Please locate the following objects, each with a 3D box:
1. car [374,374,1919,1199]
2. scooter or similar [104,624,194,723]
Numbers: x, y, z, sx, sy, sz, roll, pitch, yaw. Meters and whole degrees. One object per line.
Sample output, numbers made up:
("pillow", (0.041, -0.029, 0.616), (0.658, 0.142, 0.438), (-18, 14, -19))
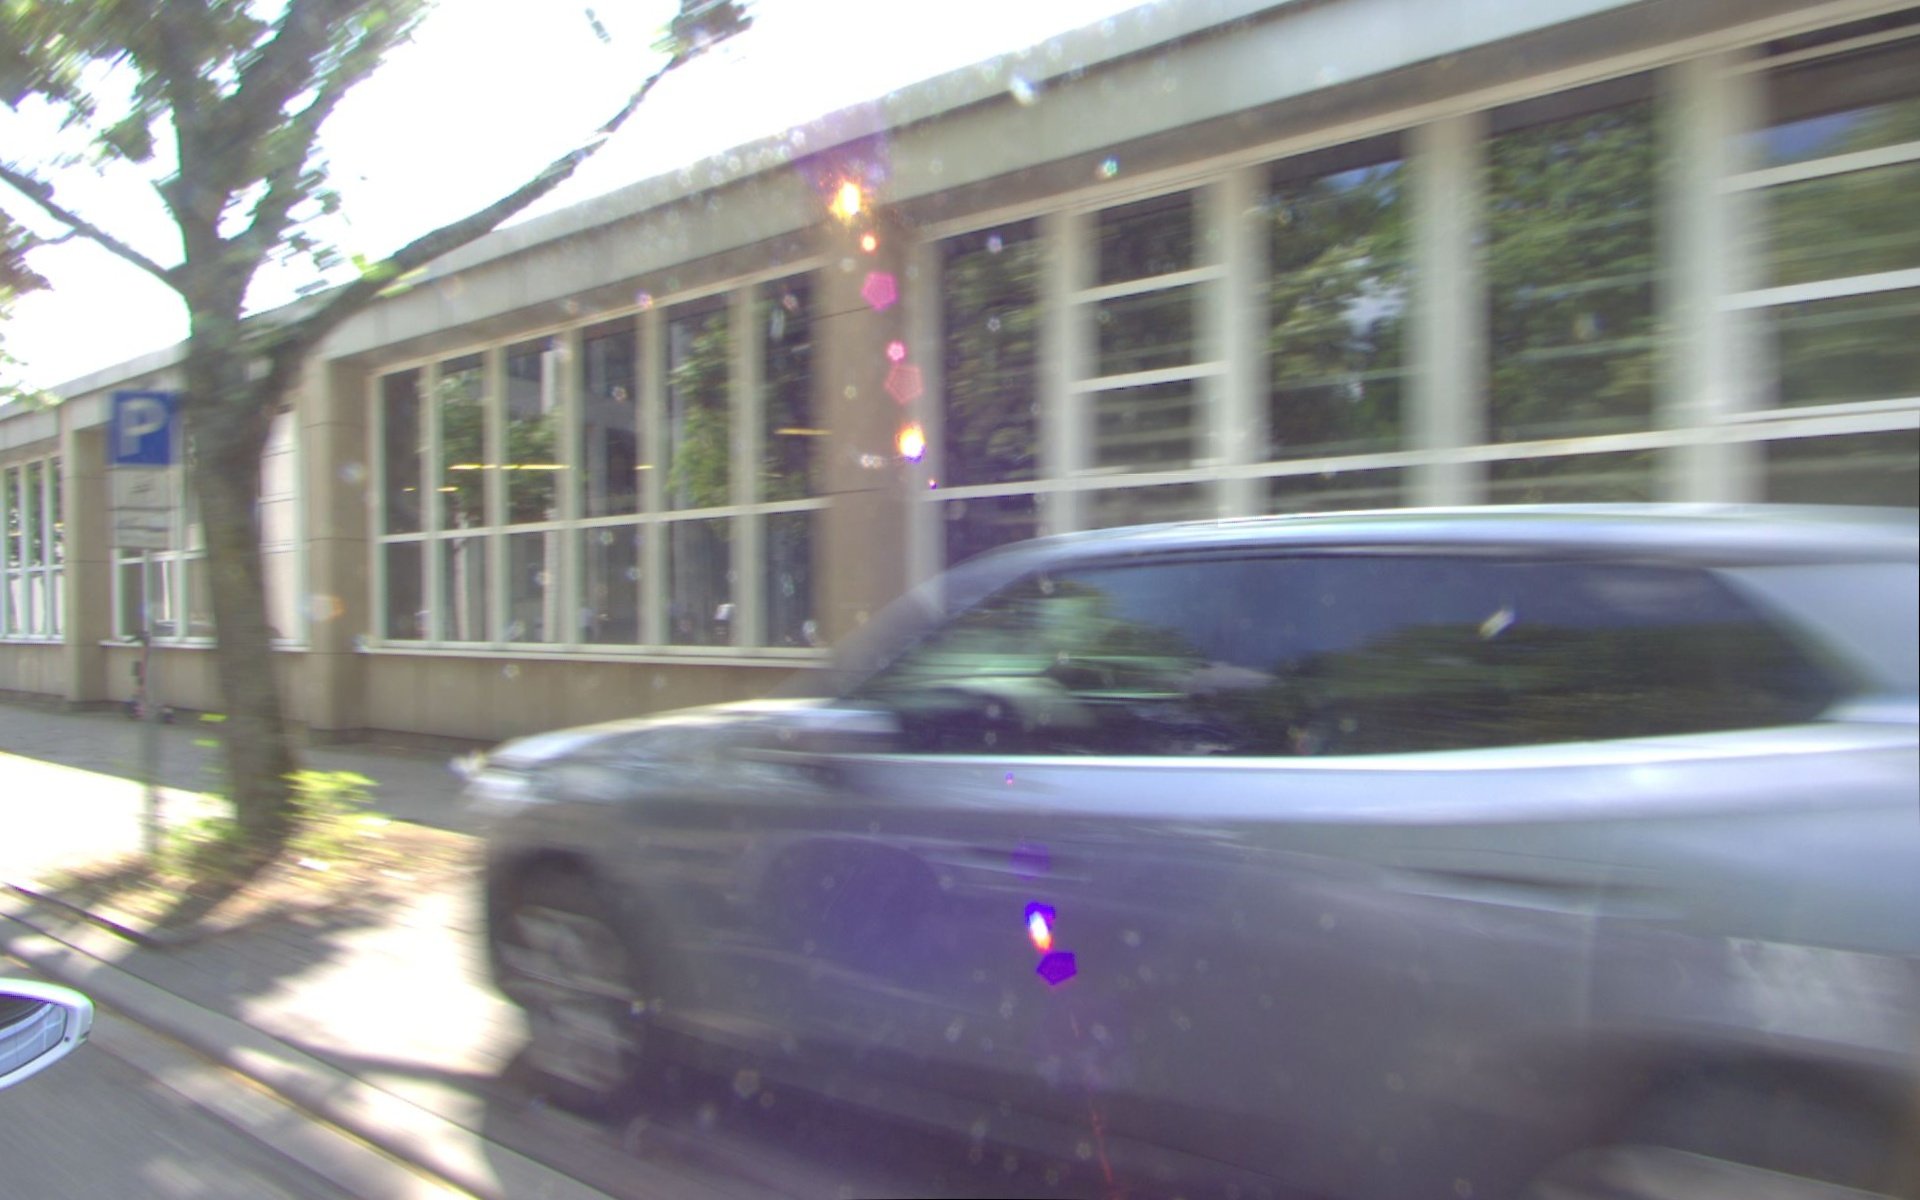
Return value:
("car", (0.479, 0.563, 2.962), (4.515, 1.685, 1.821), (0, -2, 30))
("scooter or similar", (-11.084, 0.977, 13.679), (1.465, 1.266, 0.509), (0, 1, 33))
